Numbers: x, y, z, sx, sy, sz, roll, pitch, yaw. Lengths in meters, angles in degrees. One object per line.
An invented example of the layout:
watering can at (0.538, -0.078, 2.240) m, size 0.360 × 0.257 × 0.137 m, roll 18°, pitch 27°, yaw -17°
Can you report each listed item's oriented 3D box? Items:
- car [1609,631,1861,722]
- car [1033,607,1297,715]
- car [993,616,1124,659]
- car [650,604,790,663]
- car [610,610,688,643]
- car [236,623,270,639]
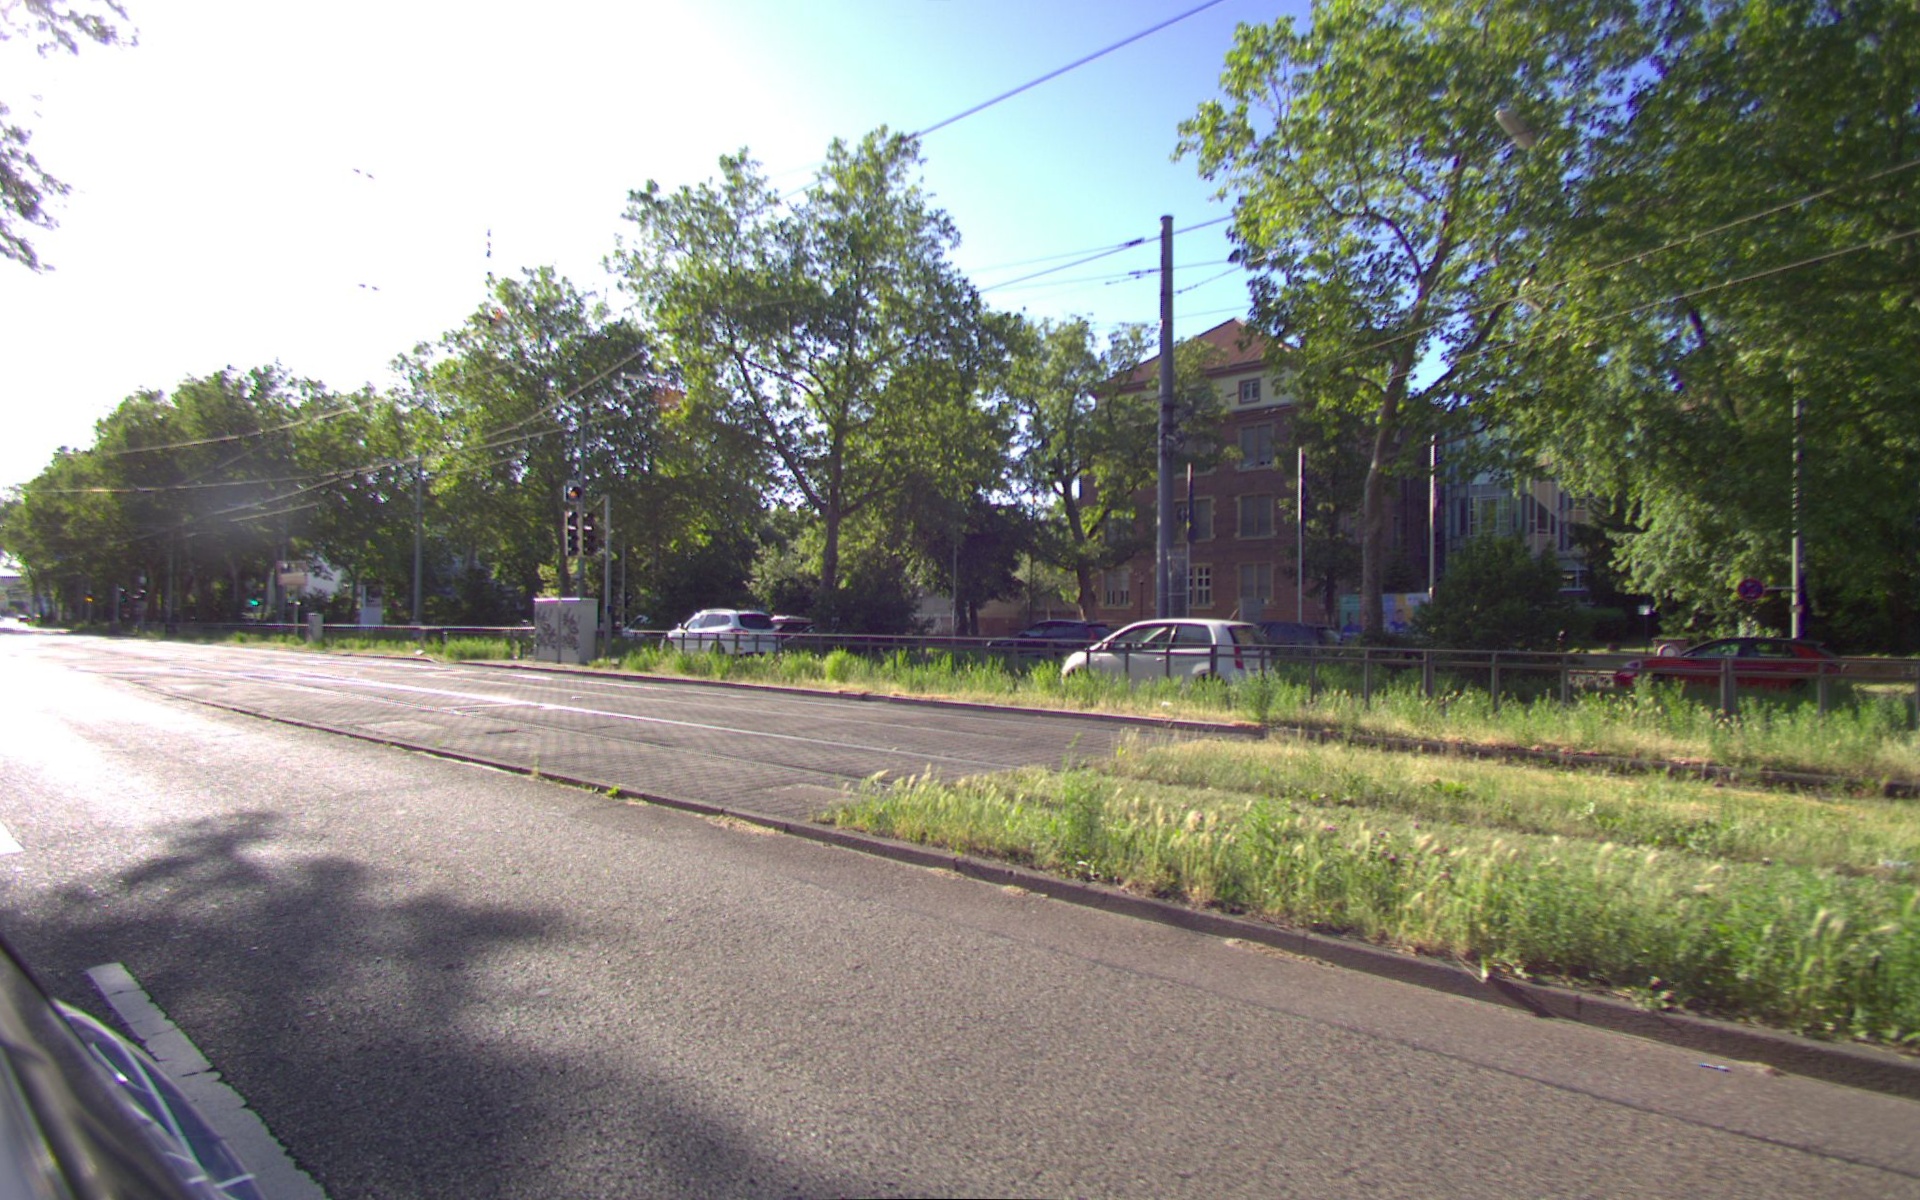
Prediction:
car at (16.076, 1.508, 21.160) m, size 3.997 × 1.634 × 1.973 m, roll -2°, pitch 0°, yaw 40°
car at (3.329, 0.948, 16.771) m, size 3.872 × 1.541 × 1.826 m, roll -2°, pitch 0°, yaw 41°
car at (3.119, 1.152, 32.538) m, size 4.024 × 1.232 × 1.578 m, roll -1°, pitch 1°, yaw 42°
car at (-7.460, 1.022, 31.200) m, size 4.596 × 1.632 × 1.866 m, roll -2°, pitch 0°, yaw 42°
car at (-15.366, 1.304, 49.895) m, size 4.347 × 1.482 × 1.722 m, roll -2°, pitch 0°, yaw 43°
car at (-66.210, 2.903, 94.718) m, size 3.754 × 1.482 × 1.700 m, roll -2°, pitch 0°, yaw 40°
